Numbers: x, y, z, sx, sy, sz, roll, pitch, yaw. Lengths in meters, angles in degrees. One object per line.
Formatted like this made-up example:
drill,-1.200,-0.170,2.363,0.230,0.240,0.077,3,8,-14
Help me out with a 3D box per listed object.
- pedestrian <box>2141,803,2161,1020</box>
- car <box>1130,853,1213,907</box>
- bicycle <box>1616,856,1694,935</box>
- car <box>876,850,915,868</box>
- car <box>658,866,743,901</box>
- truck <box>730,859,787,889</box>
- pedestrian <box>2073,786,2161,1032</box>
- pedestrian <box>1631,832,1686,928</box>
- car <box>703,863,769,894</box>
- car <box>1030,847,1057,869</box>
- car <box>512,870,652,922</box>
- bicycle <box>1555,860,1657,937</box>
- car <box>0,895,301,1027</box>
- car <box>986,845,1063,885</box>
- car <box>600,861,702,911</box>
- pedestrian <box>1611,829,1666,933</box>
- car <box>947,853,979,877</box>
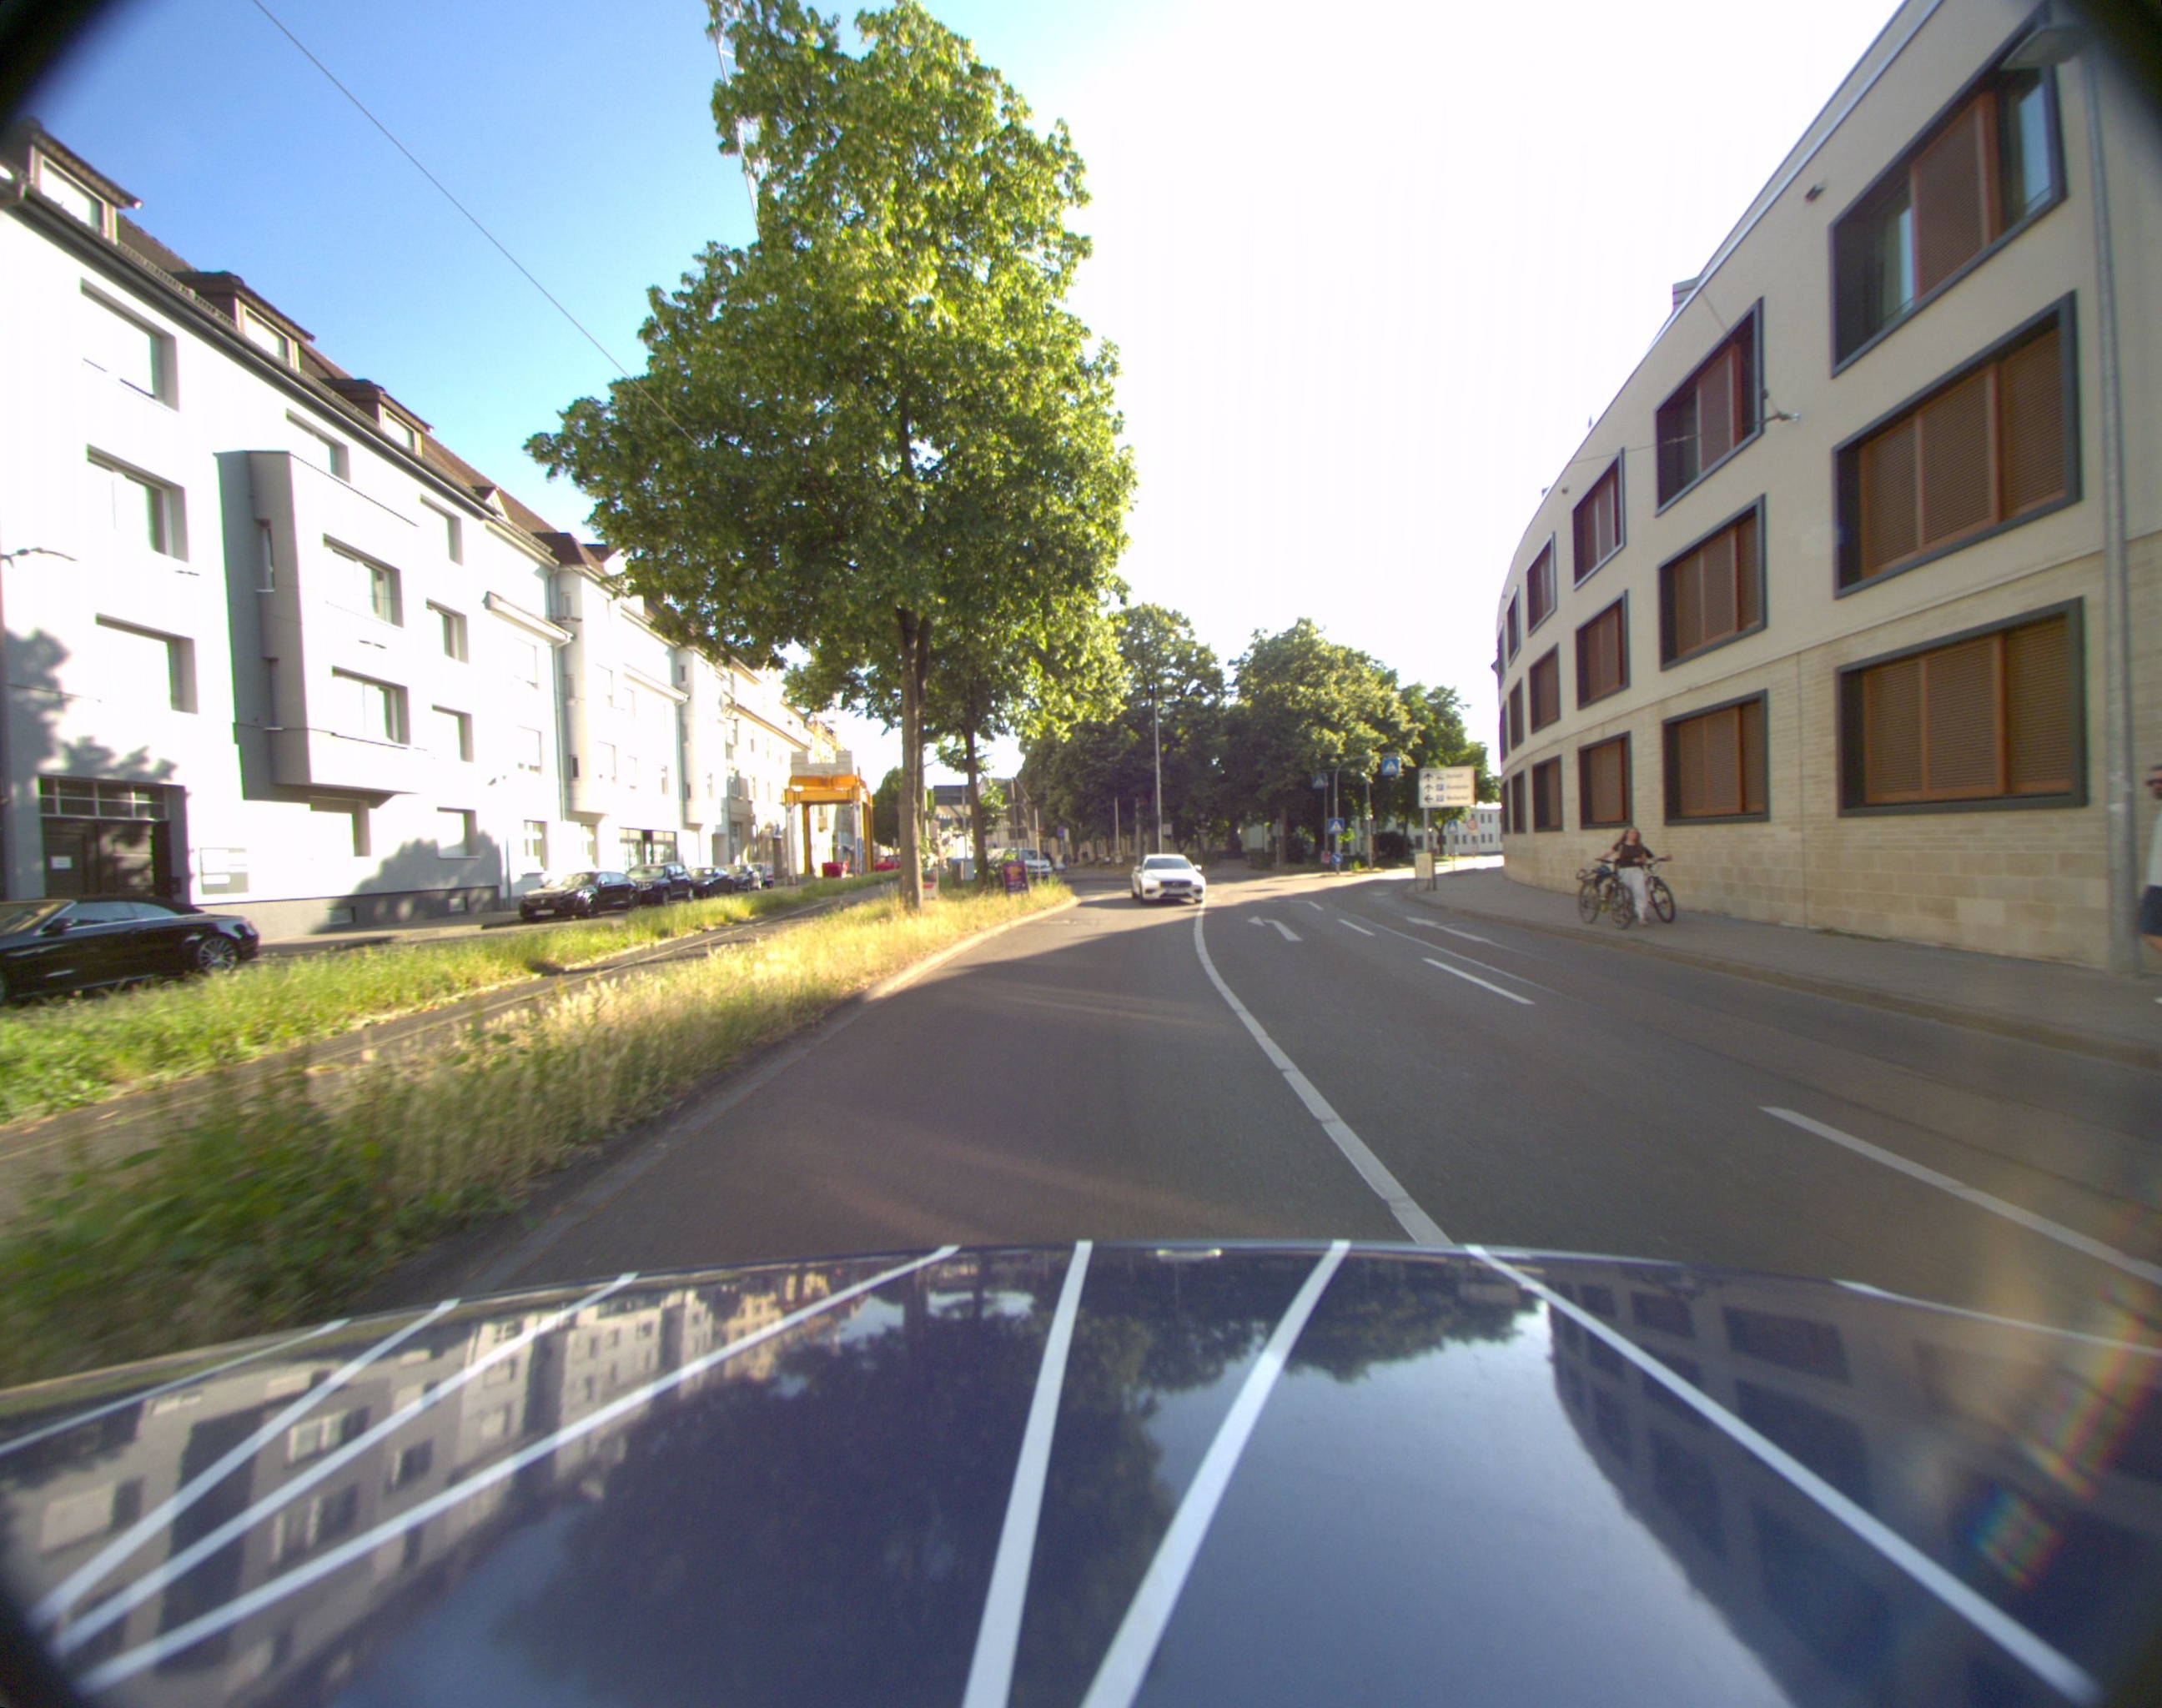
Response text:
pedestrian,8.766,0.445,5.602,0.704,1.704,0.843,-3,1,6
car,2.694,0.740,23.622,1.853,1.455,4.772,-2,0,-1
bicycle,9.346,0.635,12.428,0.376,1.160,1.839,-4,0,18
car,-20.703,0.573,85.051,4.072,1.910,1.998,-2,0,-10
car,-17.185,1.292,34.548,1.999,1.378,4.207,-2,0,-5
truck,-18.777,1.134,44.394,2.000,1.576,4.094,-2,0,-8
pedestrian,8.332,0.396,5.654,0.606,1.838,0.993,-3,1,6
pedestrian,9.703,0.427,12.789,0.474,1.555,0.603,-4,0,17
car,-17.837,1.214,39.489,2.000,1.444,4.094,-2,0,-8
car,-3.296,0.306,66.482,2.000,1.783,3.997,-3,1,-7
car,-15.810,1.277,24.404,2.000,1.378,4.443,-2,0,-8
bicycle,8.680,0.694,12.655,0.441,1.171,1.968,-3,-1,5
car,-13.966,1.390,10.573,2.000,1.378,4.443,-2,0,-8
car,-2.930,0.549,38.229,2.003,1.843,4.891,-2,0,-29
car,-16.557,1.154,29.502,2.000,1.738,4.206,-2,0,-8
pedestrian,9.041,0.430,12.333,0.474,1.638,0.603,-3,0,17
car,-7.918,0.714,51.029,2.000,1.510,4.069,-2,0,-9
